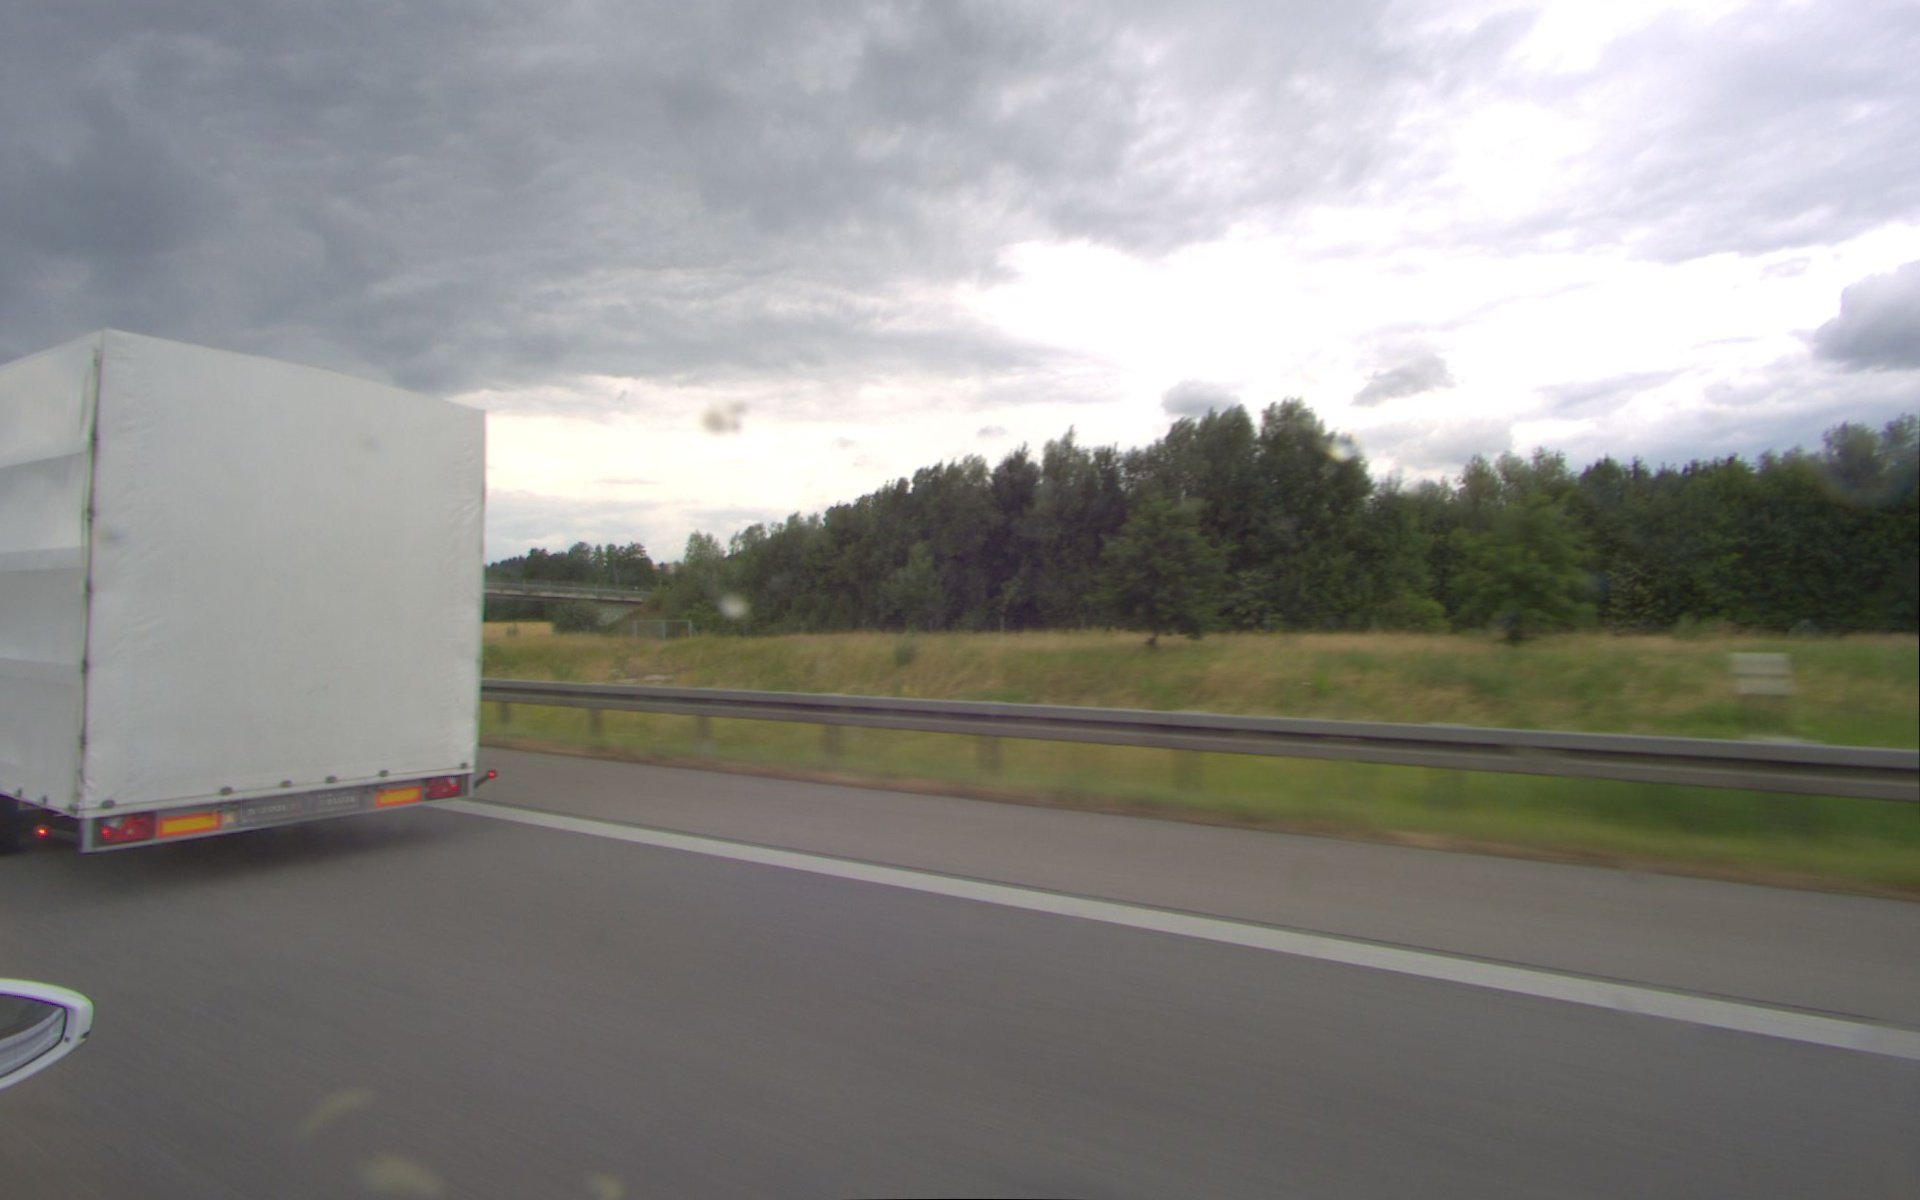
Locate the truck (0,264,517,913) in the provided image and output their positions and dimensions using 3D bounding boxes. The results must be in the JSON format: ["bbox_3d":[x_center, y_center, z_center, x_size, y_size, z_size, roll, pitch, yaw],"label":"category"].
[{"bbox_3d":[-6.779,0.010,7.888,7.038,3.264,2.412,-1,-1,31],"label":"truck"}]

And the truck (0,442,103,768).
[{"bbox_3d":[-12.911,0.083,11.578,7.140,3.285,2.426,-1,-1,31],"label":"truck"}]
